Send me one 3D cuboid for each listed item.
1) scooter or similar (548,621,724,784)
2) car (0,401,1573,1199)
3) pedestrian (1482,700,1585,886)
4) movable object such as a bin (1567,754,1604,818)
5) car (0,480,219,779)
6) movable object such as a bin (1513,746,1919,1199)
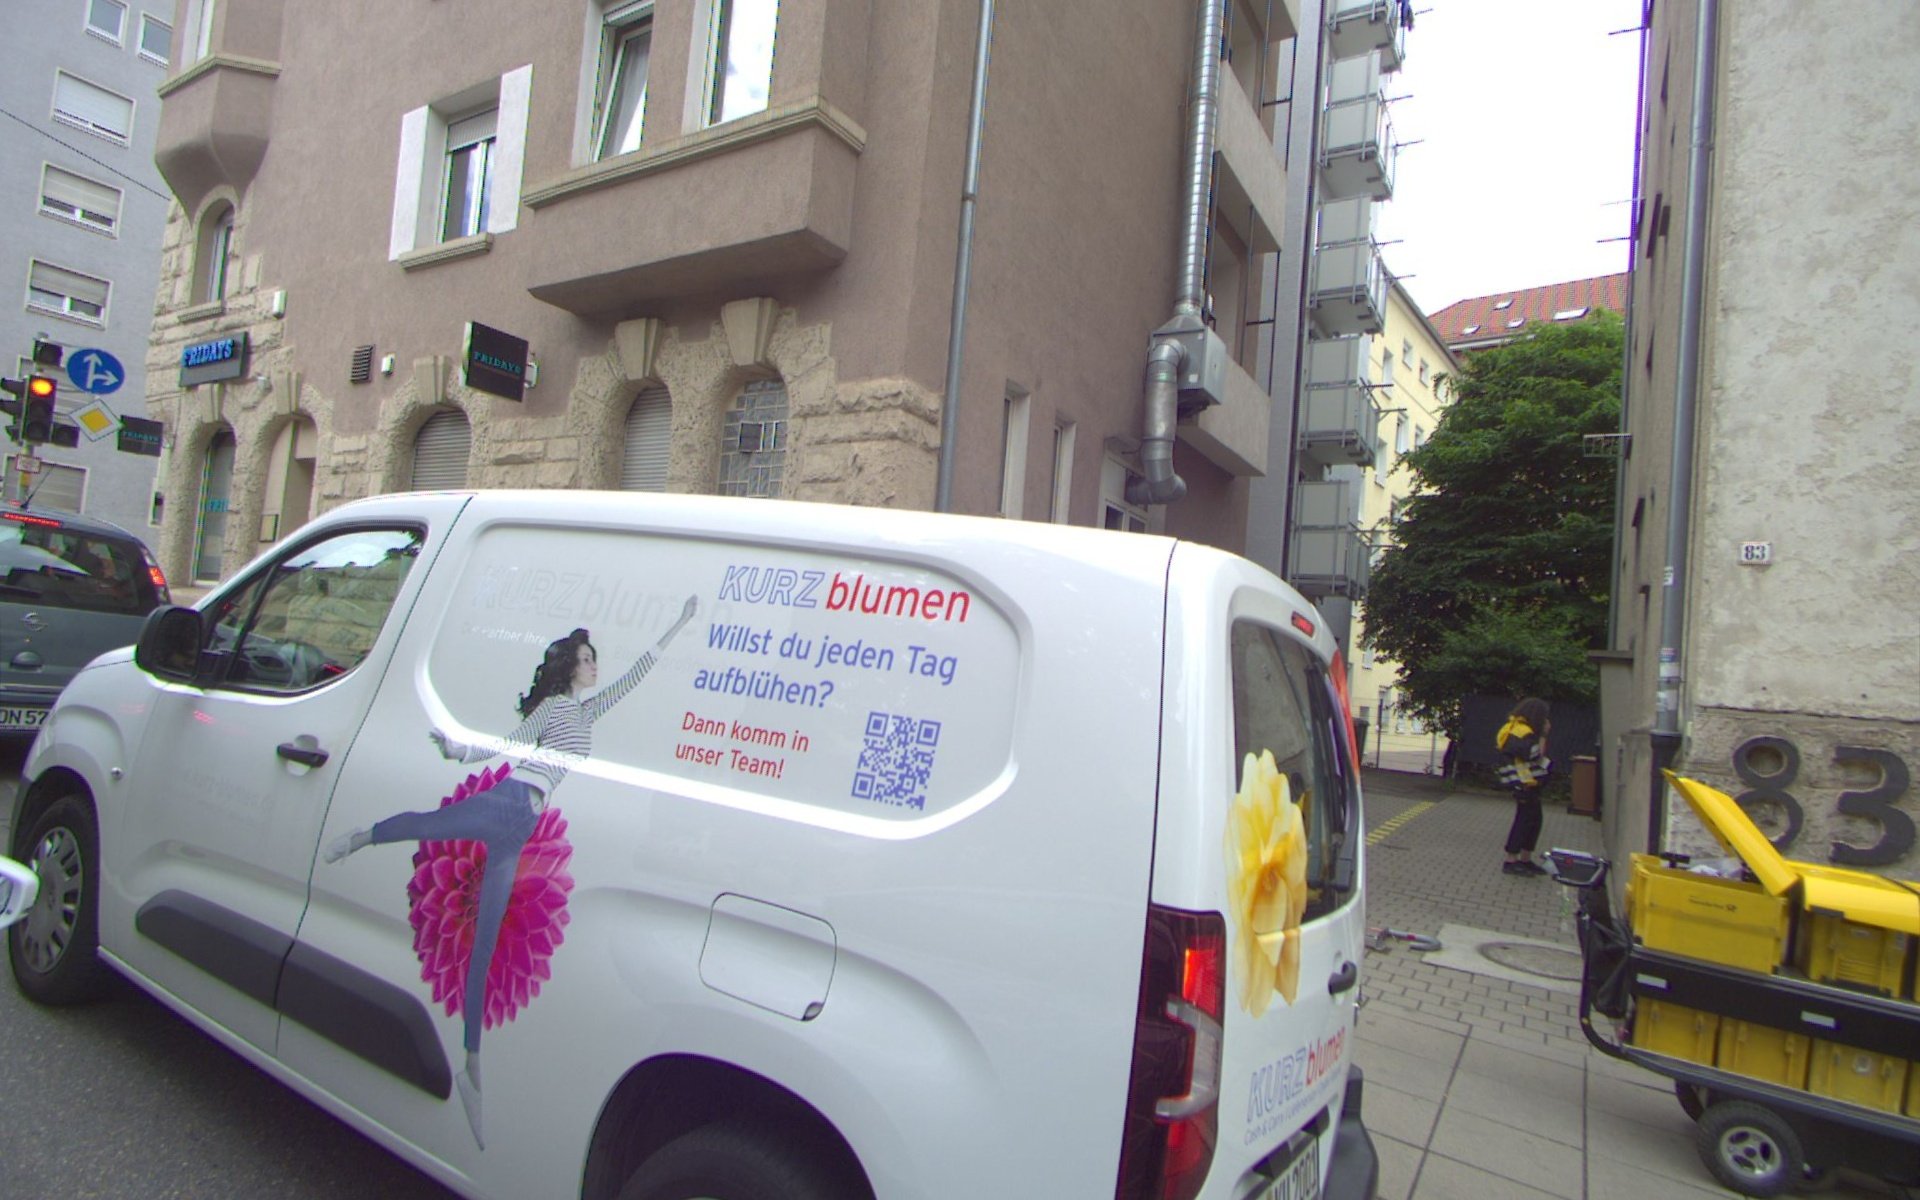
[{"bbox_3d":[-2.688,0.814,8.305,1.400,1.117,0.527,6,-1,34],"label":"scooter or similar"},{"bbox_3d":[-0.924,0.592,3.128,4.597,1.793,1.983,6,-5,30],"label":"car"},{"bbox_3d":[5.572,1.832,9.813,0.770,1.665,0.811,1,-3,24],"label":"pedestrian"},{"bbox_3d":[9.931,2.945,15.981,0.405,0.922,0.340,6,-1,32],"label":"movable object such as a bin"},{"bbox_3d":[-6.707,0.020,6.533,3.608,1.614,1.634,6,-5,32],"label":"car"},{"bbox_3d":[3.391,1.463,3.980,1.979,1.391,1.223,6,0,30],"label":"movable object such as a bin"}]
